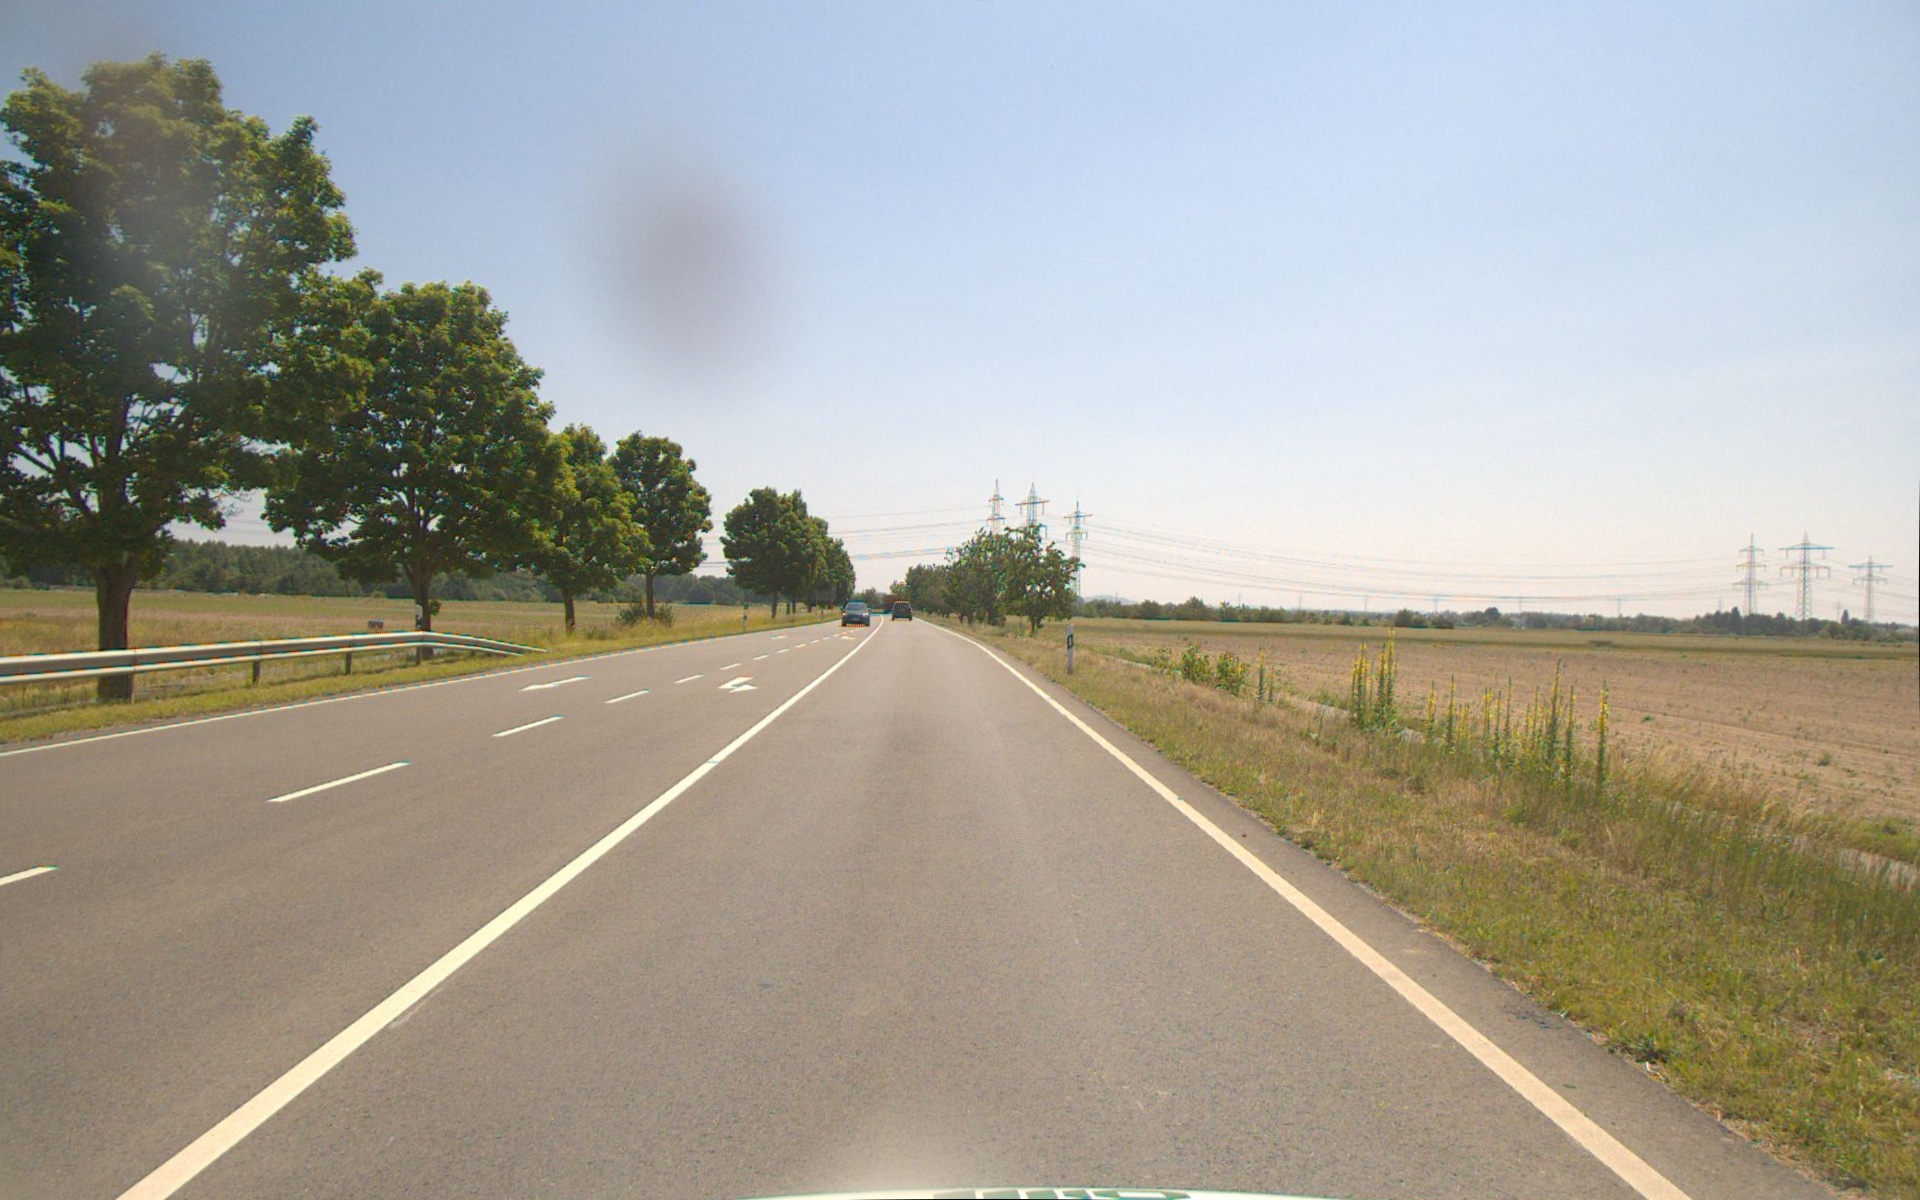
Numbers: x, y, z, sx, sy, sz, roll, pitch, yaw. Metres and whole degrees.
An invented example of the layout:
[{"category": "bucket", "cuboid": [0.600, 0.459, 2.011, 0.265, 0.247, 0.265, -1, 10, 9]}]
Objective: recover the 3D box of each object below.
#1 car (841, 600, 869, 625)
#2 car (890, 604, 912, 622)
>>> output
[{"category": "car", "cuboid": [-6.668, 0.784, 105.341, 1.704, 1.499, 4.615, 0, 0, -3]}, {"category": "car", "cuboid": [-5.363, 1.184, 150.758, 1.847, 1.544, 4.037, 4, 0, -3]}]
